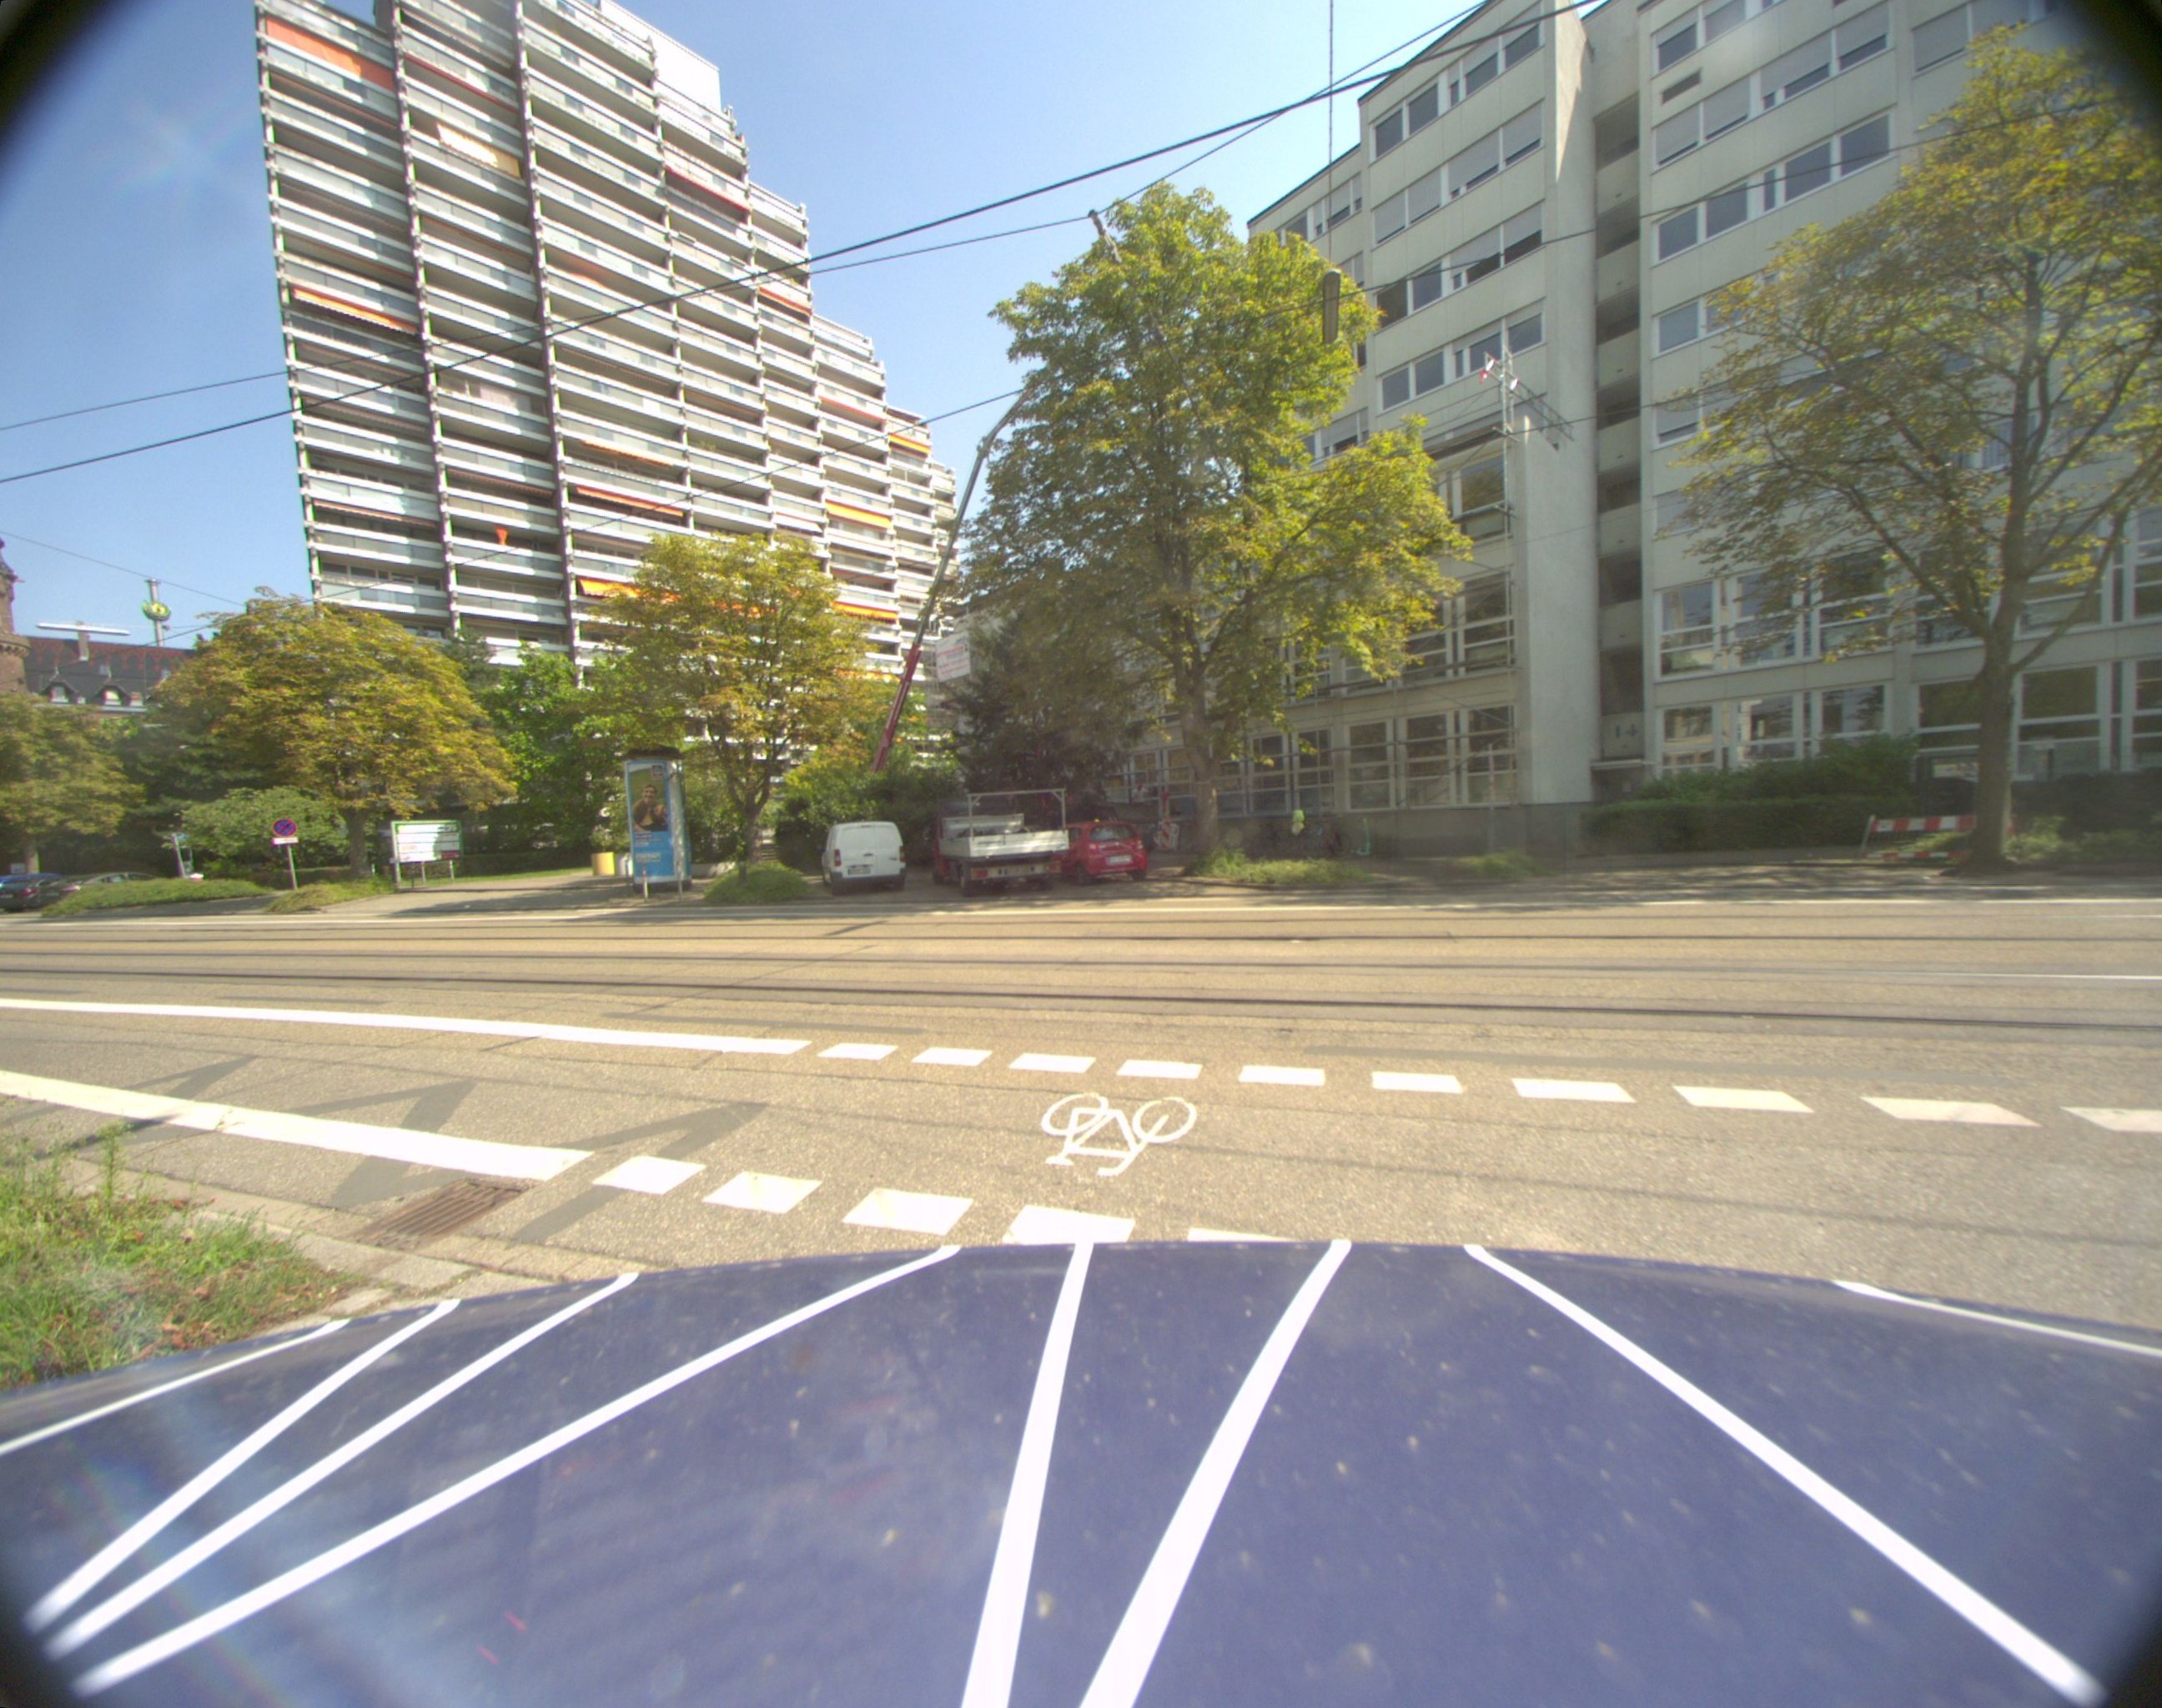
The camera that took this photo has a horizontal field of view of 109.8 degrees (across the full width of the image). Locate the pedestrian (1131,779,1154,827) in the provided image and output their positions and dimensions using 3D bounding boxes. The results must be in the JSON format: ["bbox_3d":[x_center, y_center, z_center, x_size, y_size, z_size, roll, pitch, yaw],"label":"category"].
[{"bbox_3d":[2.364,-1.949,29.316,0.740,1.777,0.829,-3,3,1],"label":"pedestrian"}]

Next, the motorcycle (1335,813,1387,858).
[{"bbox_3d":[8.068,-0.551,21.862,0.742,1.149,2.009,1,6,40],"label":"motorcycle"}]

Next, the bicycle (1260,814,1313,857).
[{"bbox_3d":[6.288,-0.586,23.109,0.600,1.154,2.349,1,6,40],"label":"bicycle"}]

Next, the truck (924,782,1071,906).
[{"bbox_3d":[-2.233,-0.329,18.267,2.152,2.421,5.957,-3,3,-19],"label":"truck"}]

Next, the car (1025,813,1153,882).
[{"bbox_3d":[0.093,-0.198,18.941,1.722,1.500,3.852,-3,2,-23],"label":"car"}]

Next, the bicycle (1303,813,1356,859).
[{"bbox_3d":[7.304,-0.541,22.253,0.600,1.163,2.349,1,6,40],"label":"bicycle"}]

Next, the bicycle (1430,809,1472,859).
[{"bbox_3d":[9.891,-0.560,20.283,0.560,1.163,2.349,0,6,37],"label":"bicycle"}]

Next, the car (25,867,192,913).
[{"bbox_3d":[-41.876,1.482,32.911,1.780,1.489,4.292,-3,3,-6],"label":"car"}]

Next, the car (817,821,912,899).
[{"bbox_3d":[-5.852,0.081,20.199,1.827,1.762,4.276,-4,3,-23],"label":"car"}]

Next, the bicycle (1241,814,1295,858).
[{"bbox_3d":[5.804,-0.576,23.507,0.600,1.154,2.349,1,6,40],"label":"bicycle"}]

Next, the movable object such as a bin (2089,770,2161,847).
[{"bbox_3d":[22.579,-0.961,15.714,1.351,1.551,1.690,-2,3,19],"label":"movable object such as a bin"}]

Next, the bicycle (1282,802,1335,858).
[{"bbox_3d":[6.801,-0.743,22.648,0.600,1.518,2.349,1,6,40],"label":"bicycle"}]

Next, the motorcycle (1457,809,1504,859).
[{"bbox_3d":[10.493,-0.551,19.930,0.693,1.176,1.848,1,6,40],"label":"motorcycle"}]

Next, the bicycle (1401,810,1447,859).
[{"bbox_3d":[9.356,-0.546,20.649,0.620,1.163,2.349,0,6,37],"label":"bicycle"}]

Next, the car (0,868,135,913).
[{"bbox_3d":[-44.904,1.579,33.358,1.780,1.561,3.996,-3,3,-7],"label":"car"}]

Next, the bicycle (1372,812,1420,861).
[{"bbox_3d":[8.766,-0.510,21.077,0.620,1.163,2.349,0,6,38],"label":"bicycle"}]

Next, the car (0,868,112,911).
[{"bbox_3d":[-48.058,1.625,34.904,1.841,1.639,3.997,-3,3,-3],"label":"car"}]

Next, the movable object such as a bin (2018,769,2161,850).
[{"bbox_3d":[21.077,-0.910,15.771,1.351,1.551,1.690,-2,3,19],"label":"movable object such as a bin"}]
